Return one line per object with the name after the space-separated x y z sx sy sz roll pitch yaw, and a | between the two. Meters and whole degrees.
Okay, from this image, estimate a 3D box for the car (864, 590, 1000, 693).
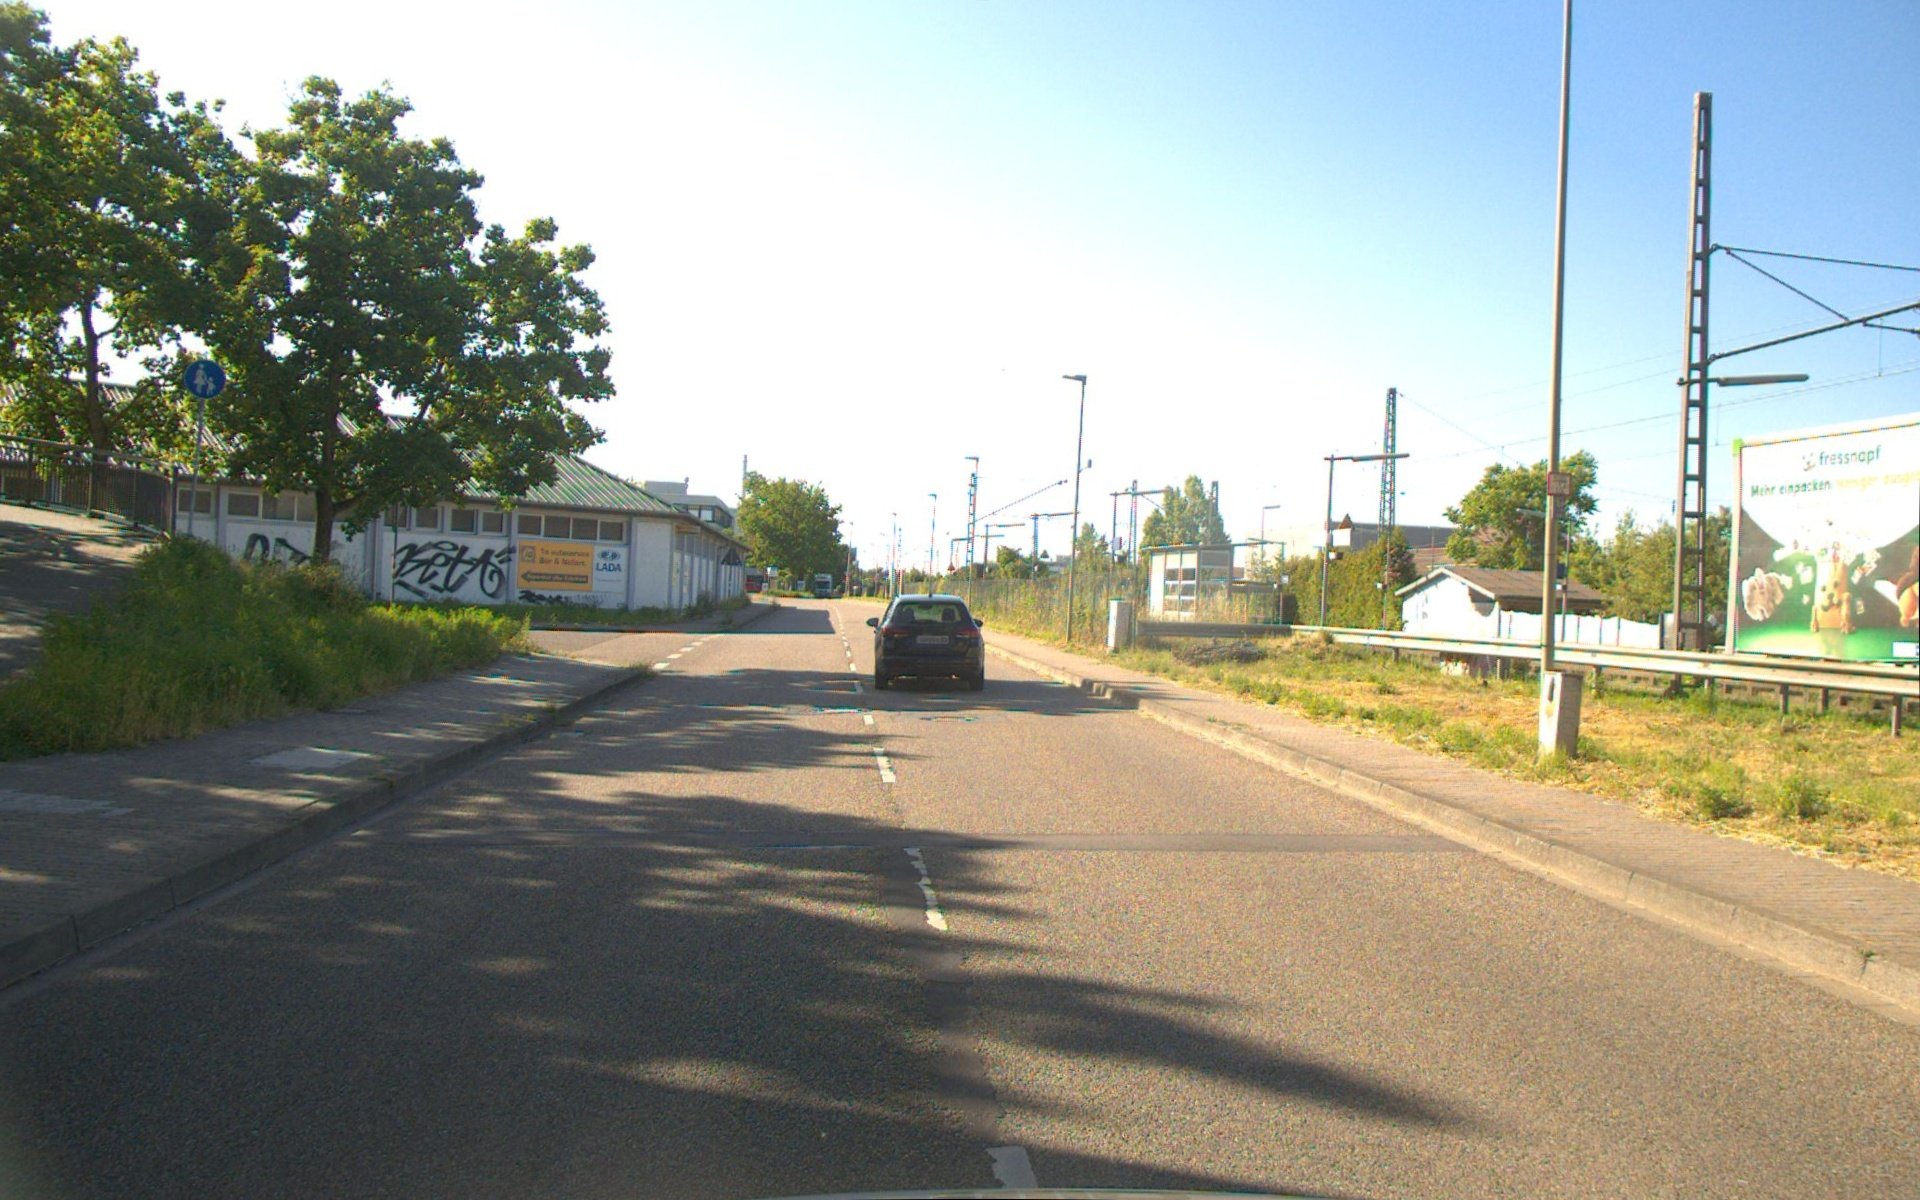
-0.556 0.619 27.319 1.904 1.515 4.560 1 0 -5 | car

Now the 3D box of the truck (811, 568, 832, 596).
-20.775 -2.675 248.359 2.563 3.952 13.513 3 0 -6 | truck

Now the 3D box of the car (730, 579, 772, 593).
-25.687 -1.765 203.601 4.810 1.510 2.000 2 1 0 | car
